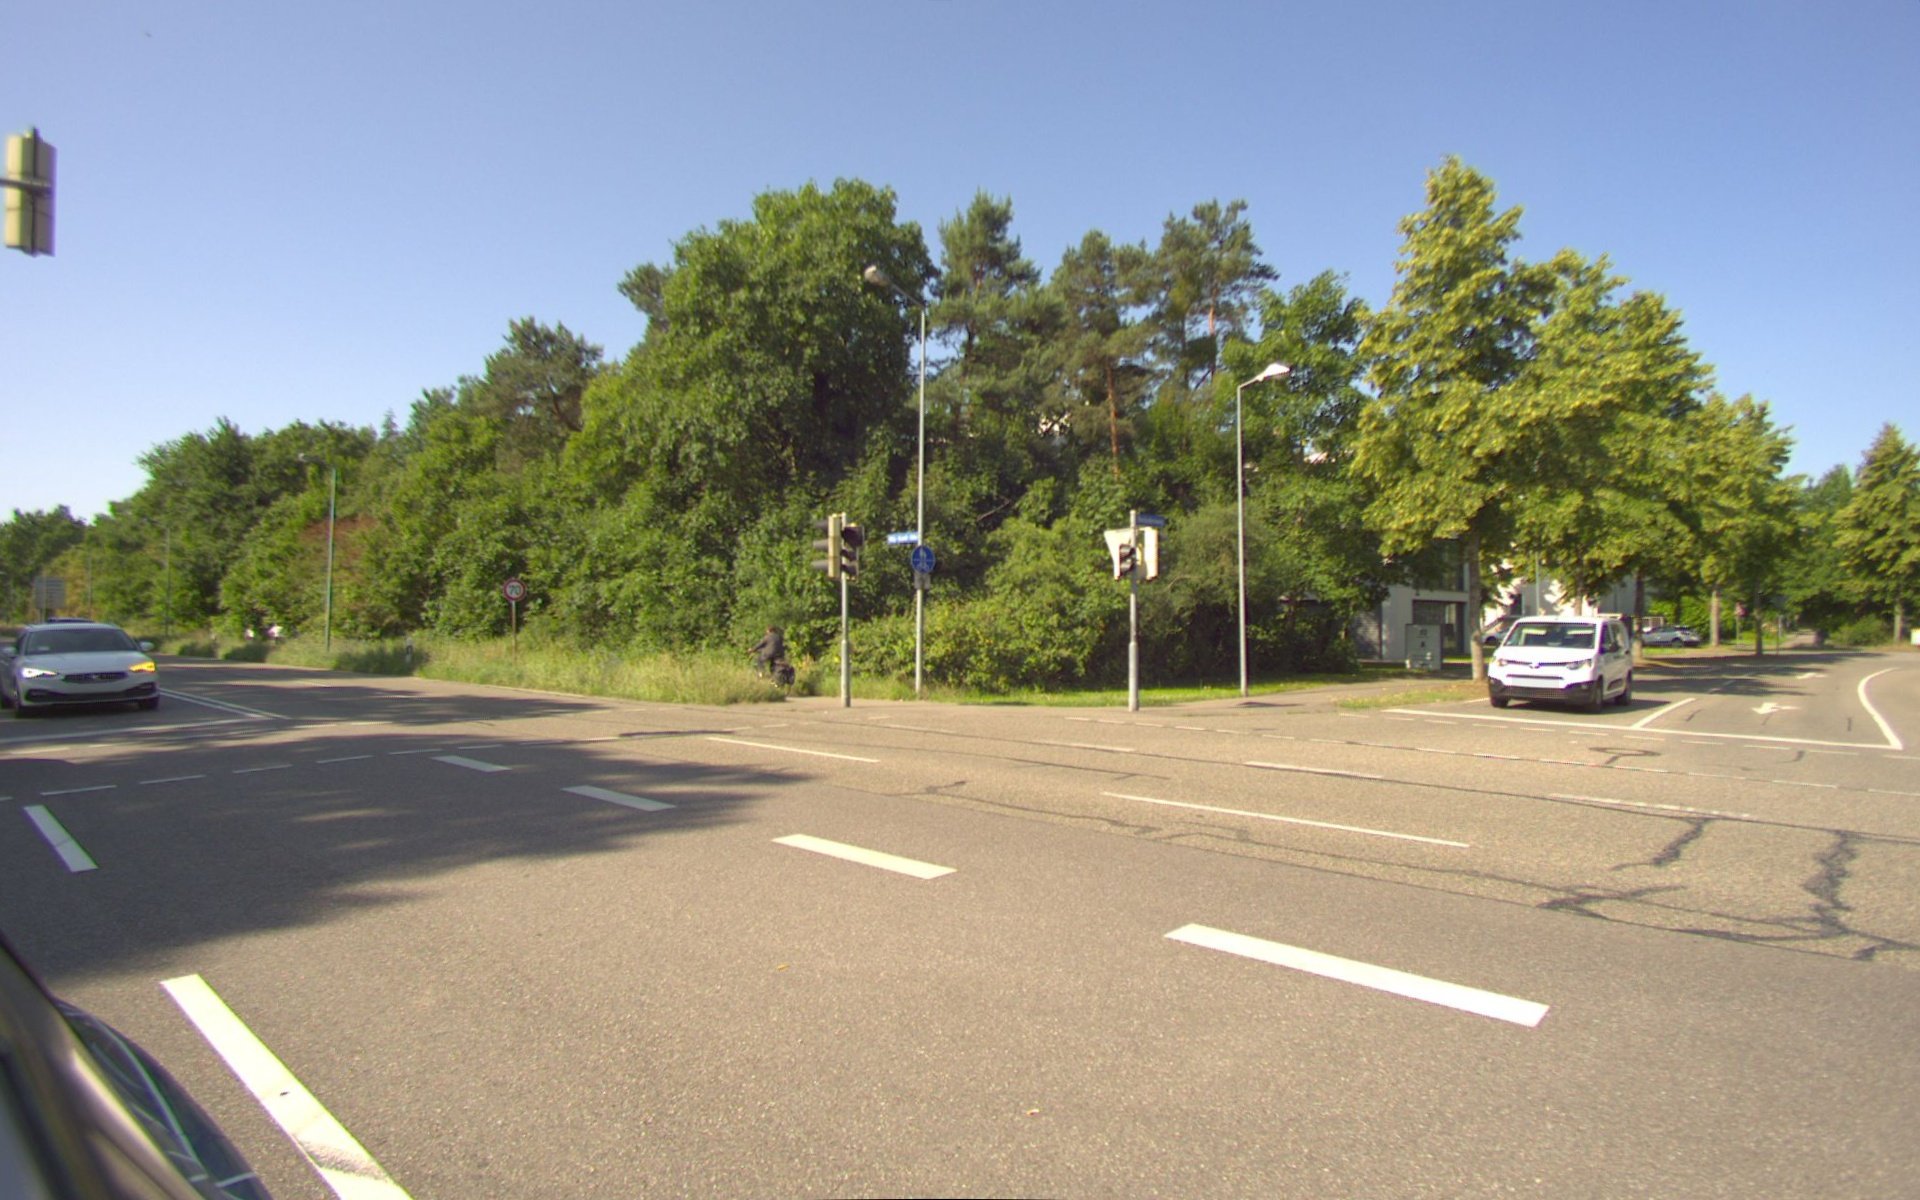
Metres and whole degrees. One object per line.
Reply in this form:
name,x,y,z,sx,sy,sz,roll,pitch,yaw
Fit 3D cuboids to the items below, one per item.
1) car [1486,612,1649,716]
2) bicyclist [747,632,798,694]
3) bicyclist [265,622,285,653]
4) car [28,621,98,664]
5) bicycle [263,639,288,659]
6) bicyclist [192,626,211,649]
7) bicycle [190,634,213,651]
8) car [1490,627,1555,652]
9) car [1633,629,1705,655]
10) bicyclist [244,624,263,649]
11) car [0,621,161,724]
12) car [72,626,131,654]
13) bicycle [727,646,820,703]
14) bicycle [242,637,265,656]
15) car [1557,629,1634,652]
car,11.923,1.184,19.728,1.852,1.791,4.595,-1,-3,43
bicyclist,-4.170,1.387,22.531,0.883,1.321,0.714,-2,-2,40
bicyclist,-33.532,1.822,49.516,0.945,1.477,0.603,-1,0,44
car,-38.175,1.795,43.031,4.391,1.710,1.771,-1,-3,43
bicycle,-33.476,2.404,49.484,2.139,0.921,0.597,-2,-2,44
bicyclist,-45.655,2.268,60.908,0.974,1.352,0.668,-1,0,40
bicycle,-45.668,2.561,60.924,1.912,0.963,0.668,-1,0,40
car,42.560,2.935,76.620,3.998,1.741,1.973,-1,0,41
car,47.943,2.798,68.487,1.572,1.575,3.719,-1,0,-24
bicyclist,-36.966,1.915,52.948,0.727,1.273,0.692,-1,0,44
car,-14.906,1.127,16.919,4.423,1.435,1.765,-2,0,43
car,-46.479,2.167,54.753,4.458,1.444,1.685,-2,-3,40
bicycle,-4.179,1.636,22.541,2.371,1.172,0.725,-1,-2,41
bicycle,-36.994,2.423,52.950,2.139,0.965,0.597,-2,-2,44
car,45.582,2.883,72.655,1.748,1.497,4.283,-1,0,-38
